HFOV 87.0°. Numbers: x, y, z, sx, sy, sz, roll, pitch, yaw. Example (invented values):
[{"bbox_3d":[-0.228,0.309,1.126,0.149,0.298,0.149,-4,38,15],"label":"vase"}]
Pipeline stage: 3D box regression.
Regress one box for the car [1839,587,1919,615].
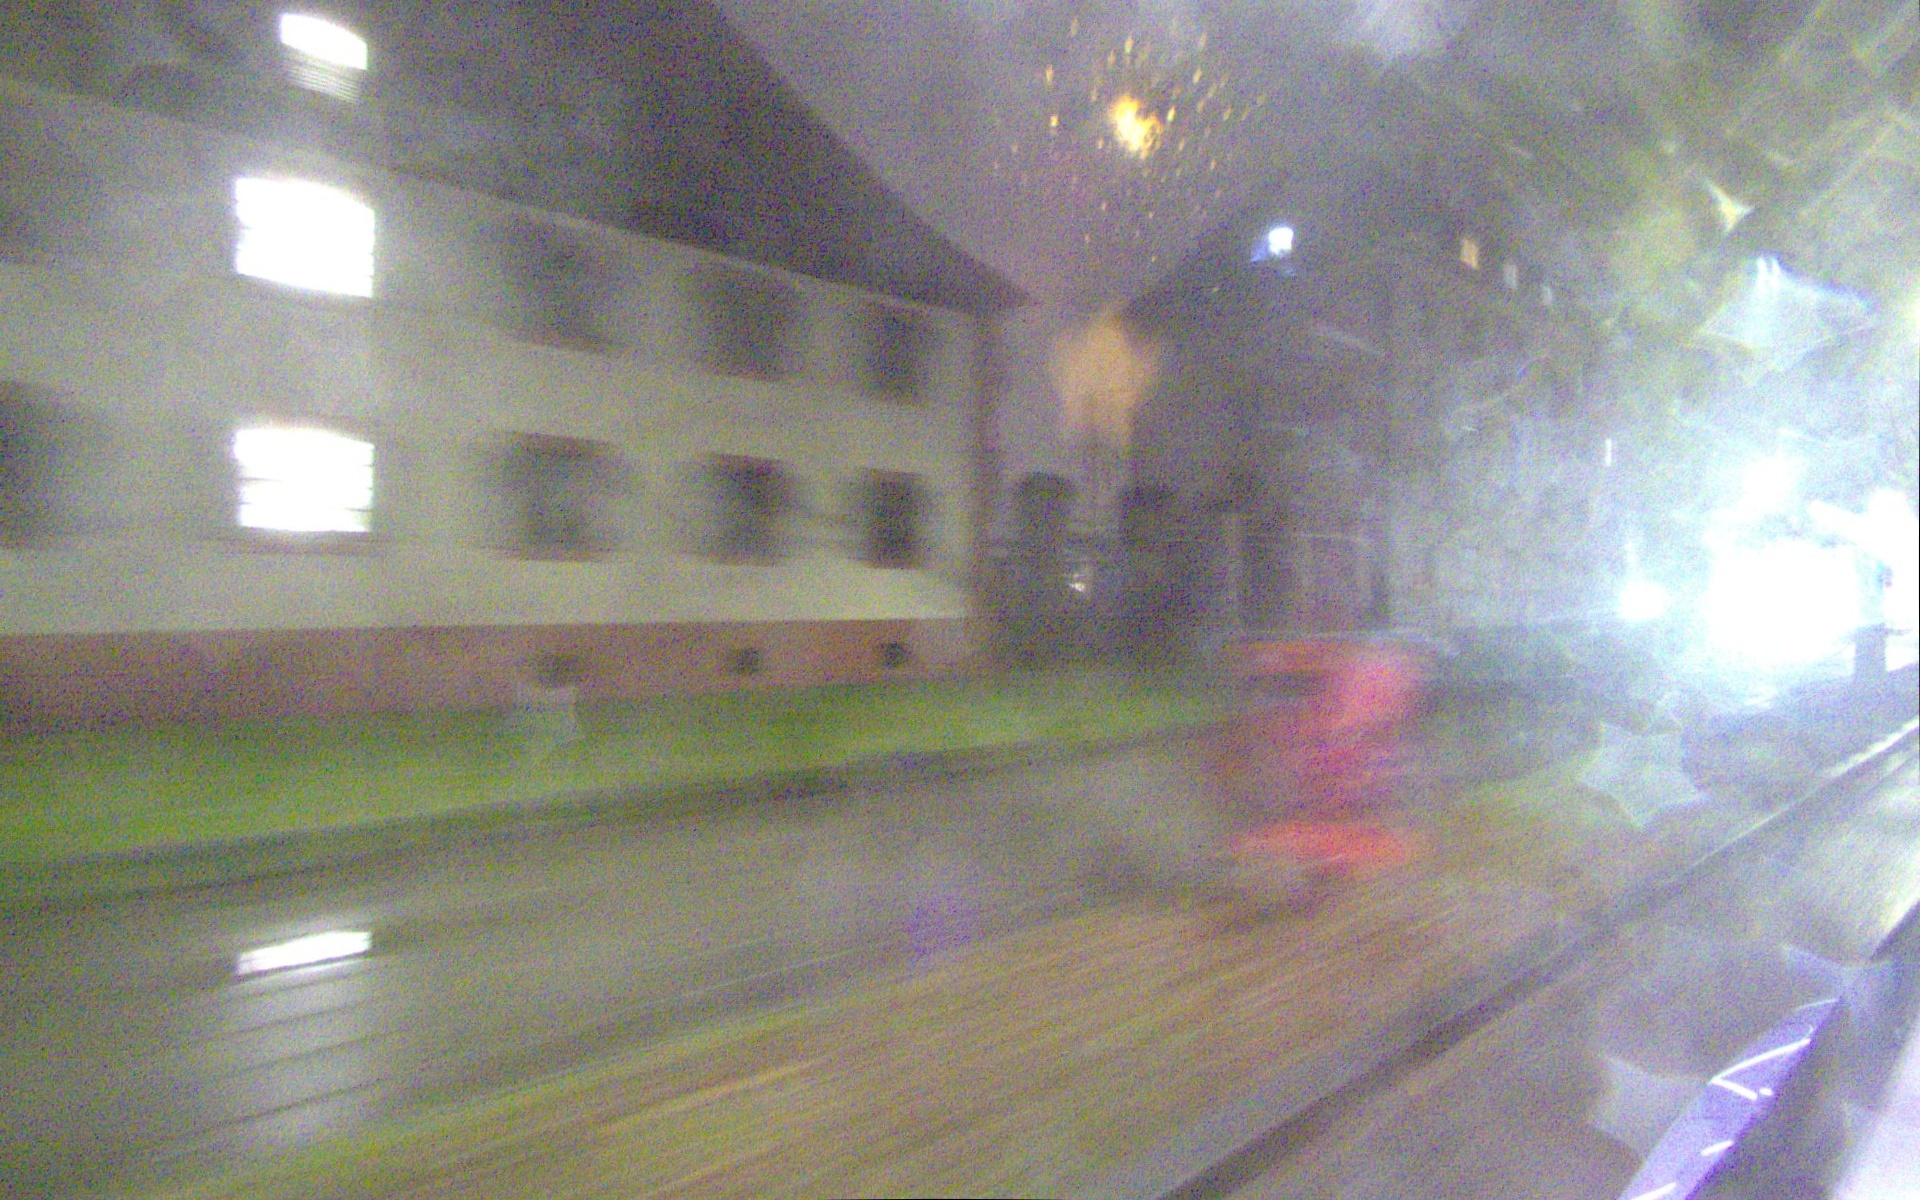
[{"bbox_3d":[62.883,0.025,69.209,1.961,1.807,4.003,0,1,-2],"label":"car"}]
